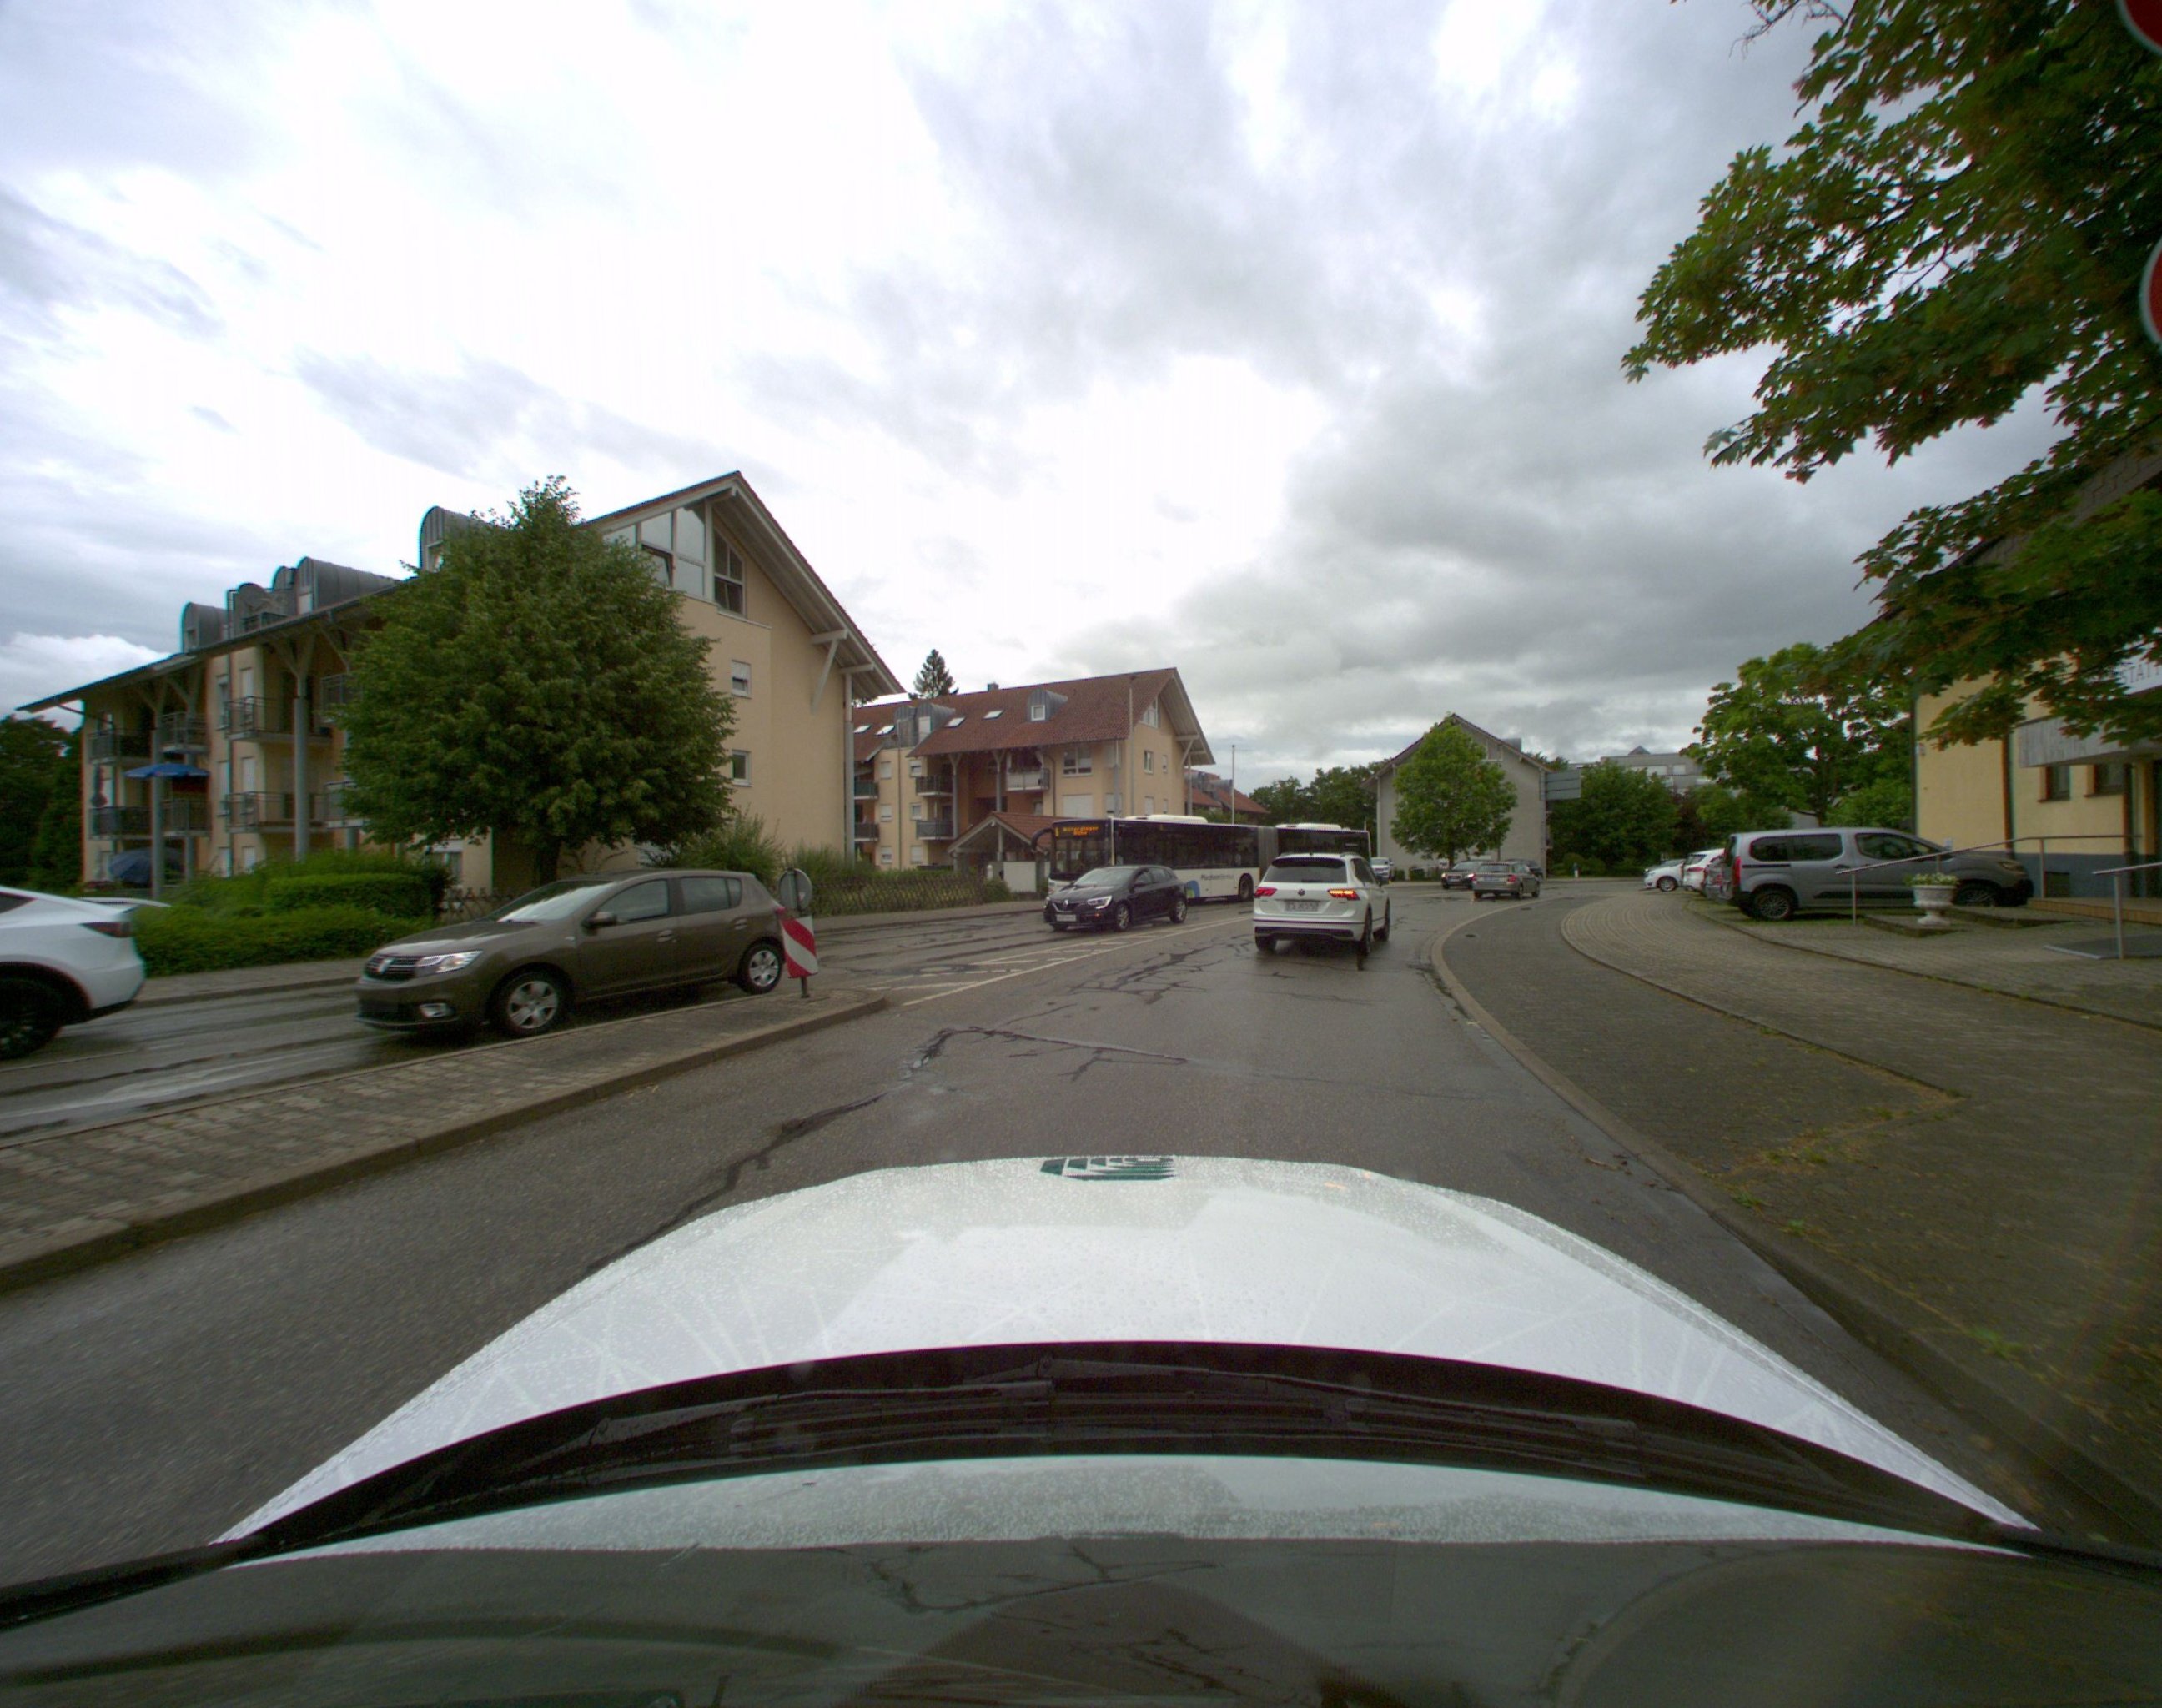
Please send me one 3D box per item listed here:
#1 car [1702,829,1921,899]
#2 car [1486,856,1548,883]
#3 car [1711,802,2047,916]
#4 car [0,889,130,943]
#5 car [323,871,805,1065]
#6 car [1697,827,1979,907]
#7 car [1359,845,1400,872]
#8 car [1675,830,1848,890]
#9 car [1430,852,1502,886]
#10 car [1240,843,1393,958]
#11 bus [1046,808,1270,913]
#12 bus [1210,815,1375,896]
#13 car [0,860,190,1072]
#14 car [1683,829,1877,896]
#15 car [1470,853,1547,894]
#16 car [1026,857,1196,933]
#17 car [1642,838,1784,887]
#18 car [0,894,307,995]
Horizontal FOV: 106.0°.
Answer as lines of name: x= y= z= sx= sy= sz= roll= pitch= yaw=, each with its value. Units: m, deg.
car: x=19.263 y=0.292 z=21.762 sx=4.004 sy=1.490 sz=1.917 roll=-6 pitch=-3 yaw=34
car: x=25.147 y=0.872 z=46.938 sx=3.709 sy=1.422 sz=1.576 roll=-2 pitch=-1 yaw=-34
car: x=15.334 y=0.167 z=16.047 sx=4.252 sy=1.781 sz=1.917 roll=-6 pitch=-3 yaw=30
car: x=-45.541 y=2.622 z=34.650 sx=2.816 sy=2.201 sz=6.056 roll=-2 pitch=-2 yaw=28
car: x=-5.151 y=0.992 z=8.741 sx=1.806 sy=1.487 sz=3.961 roll=-3 pitch=-1 yaw=27
car: x=16.895 y=0.334 z=18.522 sx=4.318 sy=1.423 sz=1.706 roll=-6 pitch=-3 yaw=30
car: x=19.129 y=0.313 z=52.083 sx=1.975 sy=1.651 sz=4.023 roll=0 pitch=-2 yaw=27
car: x=22.116 y=0.216 z=26.719 sx=4.005 sy=1.597 sz=1.917 roll=-6 pitch=-3 yaw=31
car: x=18.936 y=0.713 z=39.977 sx=1.842 sy=1.518 sz=4.318 roll=-4 pitch=-2 yaw=44
car: x=4.345 y=0.705 z=14.535 sx=1.903 sy=1.722 sz=4.290 roll=0 pitch=0 yaw=26
bus: x=2.993 y=0.158 z=27.692 sx=2.522 sy=3.000 sz=9.261 roll=-3 pitch=-1 yaw=41
bus: x=9.071 y=0.001 z=34.183 sx=8.454 sy=3.000 sz=2.562 roll=-2 pitch=-1 yaw=-44
car: x=-10.285 y=0.979 z=5.999 sx=1.930 sy=1.725 sz=4.628 roll=-4 pitch=-1 yaw=26
car: x=20.627 y=0.288 z=24.289 sx=4.005 sy=1.597 sz=1.907 roll=-6 pitch=-3 yaw=30
car: x=16.687 y=0.773 z=31.724 sx=1.748 sy=1.510 sz=4.024 roll=0 pitch=-2 yaw=41
car: x=0.812 y=0.878 z=18.886 sx=1.931 sy=1.519 sz=4.201 roll=-3 pitch=-1 yaw=35
car: x=25.173 y=0.347 z=32.579 sx=4.298 sy=1.597 sz=1.777 roll=-6 pitch=-3 yaw=38
car: x=-17.327 y=1.589 z=14.925 sx=1.799 sy=1.439 sz=4.230 roll=-4 pitch=-2 yaw=34
